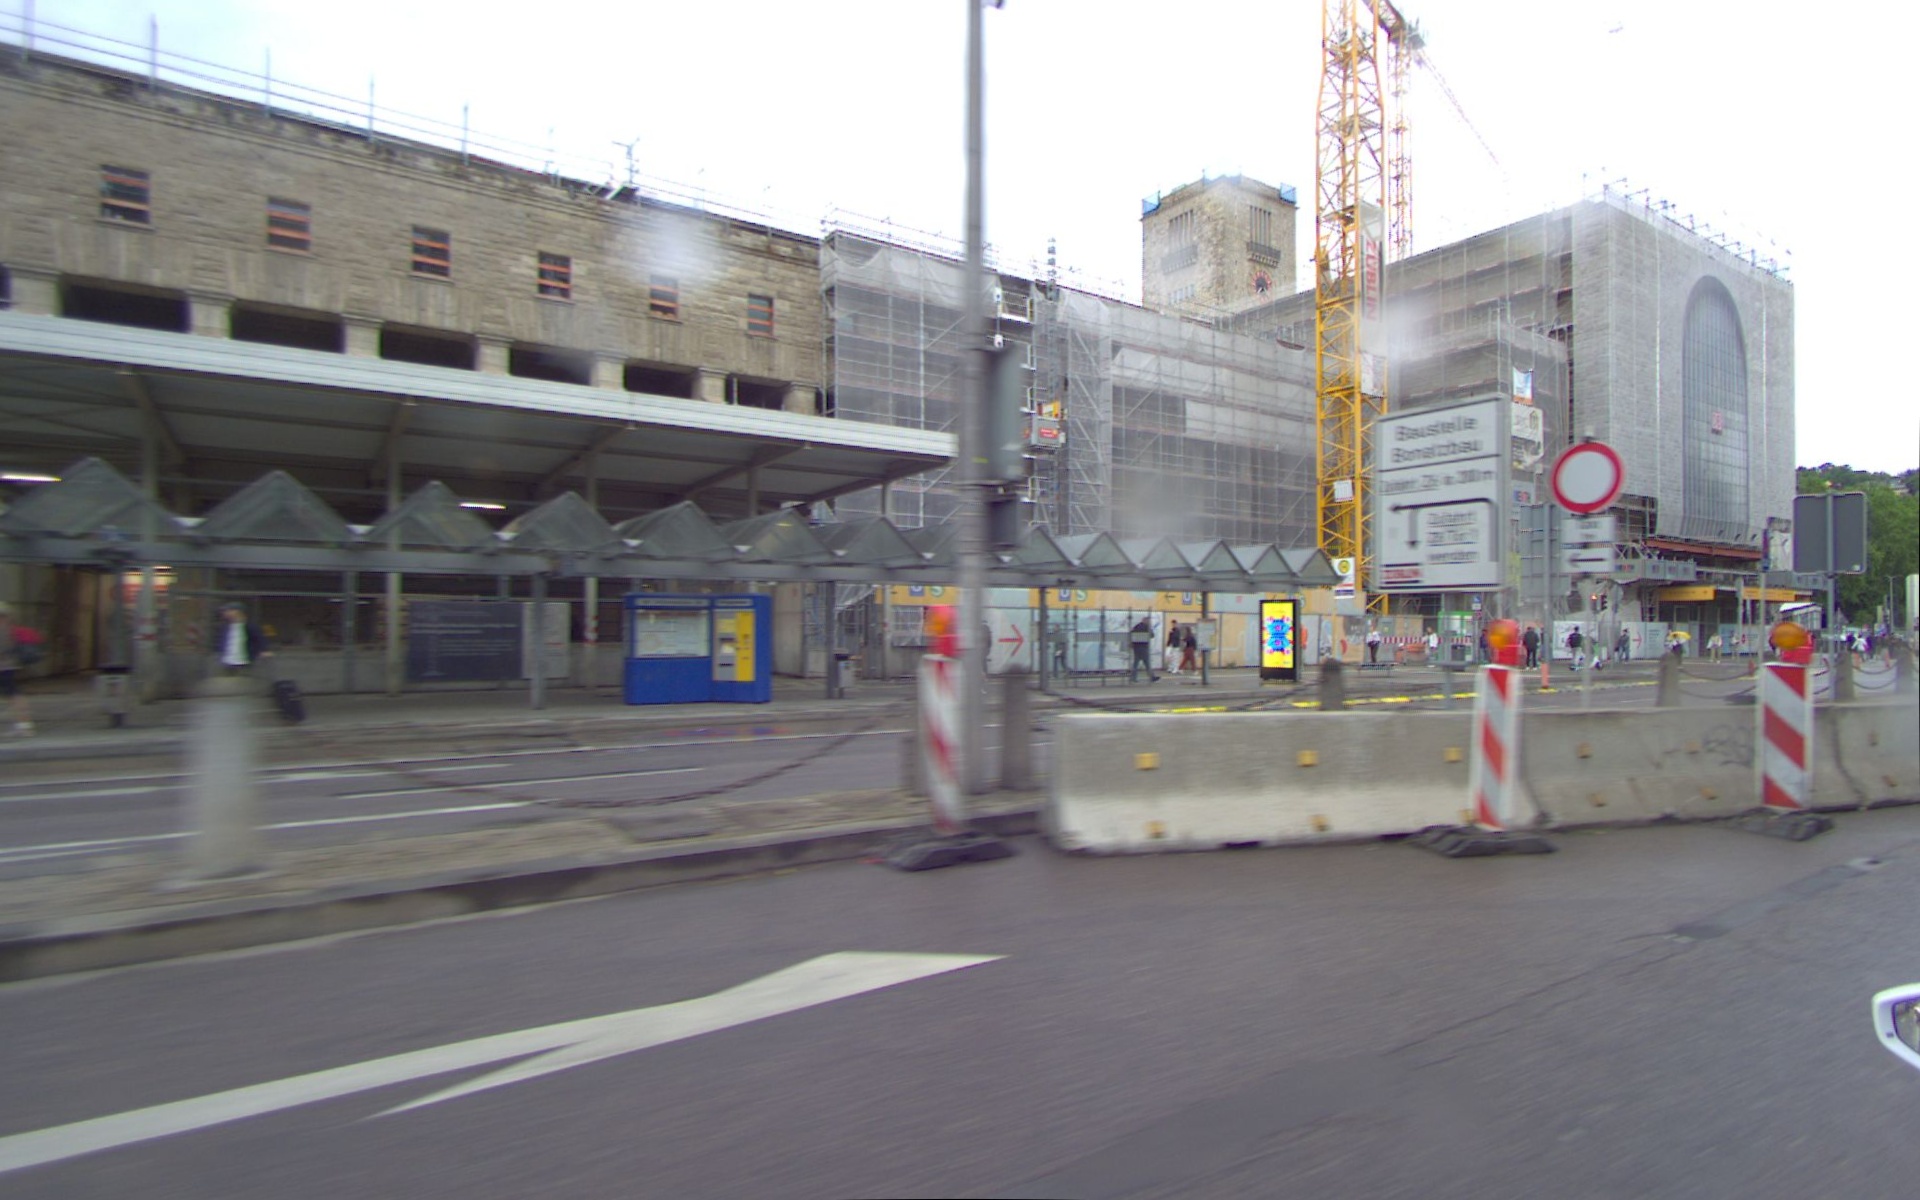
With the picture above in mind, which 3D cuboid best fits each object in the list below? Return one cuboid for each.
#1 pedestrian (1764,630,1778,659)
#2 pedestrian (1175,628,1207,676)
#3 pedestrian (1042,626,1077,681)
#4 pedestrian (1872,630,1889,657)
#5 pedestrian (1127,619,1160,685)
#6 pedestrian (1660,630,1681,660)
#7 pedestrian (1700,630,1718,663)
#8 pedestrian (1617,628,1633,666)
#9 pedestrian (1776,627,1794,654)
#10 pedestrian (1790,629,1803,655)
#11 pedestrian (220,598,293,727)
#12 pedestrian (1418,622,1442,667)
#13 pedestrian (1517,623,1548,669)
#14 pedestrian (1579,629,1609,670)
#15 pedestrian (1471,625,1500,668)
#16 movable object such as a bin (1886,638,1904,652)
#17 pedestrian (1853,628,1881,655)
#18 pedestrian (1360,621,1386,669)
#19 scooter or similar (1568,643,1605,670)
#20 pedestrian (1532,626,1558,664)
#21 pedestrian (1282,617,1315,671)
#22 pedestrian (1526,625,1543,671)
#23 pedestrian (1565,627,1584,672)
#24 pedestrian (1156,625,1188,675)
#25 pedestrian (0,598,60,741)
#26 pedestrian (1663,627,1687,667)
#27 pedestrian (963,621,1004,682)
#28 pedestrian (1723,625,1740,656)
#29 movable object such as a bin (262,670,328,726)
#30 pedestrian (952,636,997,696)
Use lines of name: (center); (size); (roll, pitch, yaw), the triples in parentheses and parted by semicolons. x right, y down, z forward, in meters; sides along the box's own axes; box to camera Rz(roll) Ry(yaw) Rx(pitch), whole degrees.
pedestrian: (51.771, 2.825, 64.150); (0.764, 1.865, 0.531); (1, -1, -37)
pedestrian: (7.790, 1.747, 33.862); (0.696, 1.568, 0.796); (1, -1, -39)
pedestrian: (3.010, 1.617, 30.509); (0.695, 1.629, 0.797); (1, -1, -35)
pedestrian: (63.233, 2.980, 68.994); (0.869, 1.865, 0.692); (2, -1, -37)
pedestrian: (5.266, 1.478, 28.855); (0.690, 1.865, 0.745); (1, -1, -14)
pedestrian: (39.152, 2.483, 55.326); (0.829, 1.635, 0.672); (1, -1, -32)
pedestrian: (39.974, 2.456, 53.591); (0.674, 1.708, 0.834); (0, -1, 42)
pedestrian: (32.993, 2.307, 49.855); (0.564, 1.865, 0.701); (0, -1, 42)
pedestrian: (56.315, 2.751, 68.575); (0.764, 1.865, 0.774); (1, -1, -35)
pedestrian: (60.284, 3.027, 72.393); (0.667, 1.865, 0.716); (0, -1, 42)
pedestrian: (-10.498, 0.918, 14.996); (0.664, 1.872, 0.558); (0, -1, 12)
pedestrian: (19.921, 1.886, 42.588); (0.605, 1.865, 0.718); (1, -1, -30)
pedestrian: (23.296, 1.864, 40.888); (0.861, 1.865, 0.704); (1, -1, -5)
pedestrian: (30.119, 2.344, 47.722); (1.046, 1.865, 0.835); (1, -1, -31)
pedestrian: (23.618, 2.079, 45.153); (0.858, 1.865, 0.799); (1, -1, -31)
movable object such as a bin: (63.667, 3.062, 68.395); (0.714, 0.983, 0.753); (1, -2, -36)
pedestrian: (61.604, 2.818, 68.235); (1.023, 1.865, 0.984); (1, -1, -14)
pedestrian: (16.506, 1.795, 40.163); (0.648, 1.865, 0.738); (1, -1, -30)
scooter or similar: (25.427, 2.292, 40.751); (1.215, 1.080, 0.460); (1, -1, 1)
pedestrian: (29.097, 2.236, 49.935); (0.841, 1.865, 0.799); (1, -1, -31)
pedestrian: (12.723, 1.642, 37.758); (0.856, 1.965, 0.737); (1, 1, -35)
pedestrian: (23.749, 1.982, 41.513); (0.501, 1.865, 0.338); (1, -1, -19)
pedestrian: (25.992, 2.097, 42.473); (0.699, 1.865, 0.503); (1, -1, -40)
pedestrian: (7.300, 1.711, 34.583); (0.696, 1.693, 0.796); (1, -1, -39)
pedestrian: (-12.436, 0.889, 13.087); (0.768, 1.814, 0.672); (1, -1, -6)
pedestrian: (34.584, 2.266, 48.573); (0.865, 1.865, 0.834); (0, -1, 42)
pedestrian: (0.667, 1.468, 28.917); (0.828, 1.722, 0.872); (1, -1, -35)
pedestrian: (46.570, 2.427, 60.658); (0.762, 1.865, 0.830); (0, -1, 42)
movable object such as a bin: (-9.865, 1.444, 14.903); (0.621, 0.800, 0.512); (0, -2, 11)
pedestrian: (0.333, 1.531, 23.546); (0.797, 1.343, 0.695); (1, -1, -35)
